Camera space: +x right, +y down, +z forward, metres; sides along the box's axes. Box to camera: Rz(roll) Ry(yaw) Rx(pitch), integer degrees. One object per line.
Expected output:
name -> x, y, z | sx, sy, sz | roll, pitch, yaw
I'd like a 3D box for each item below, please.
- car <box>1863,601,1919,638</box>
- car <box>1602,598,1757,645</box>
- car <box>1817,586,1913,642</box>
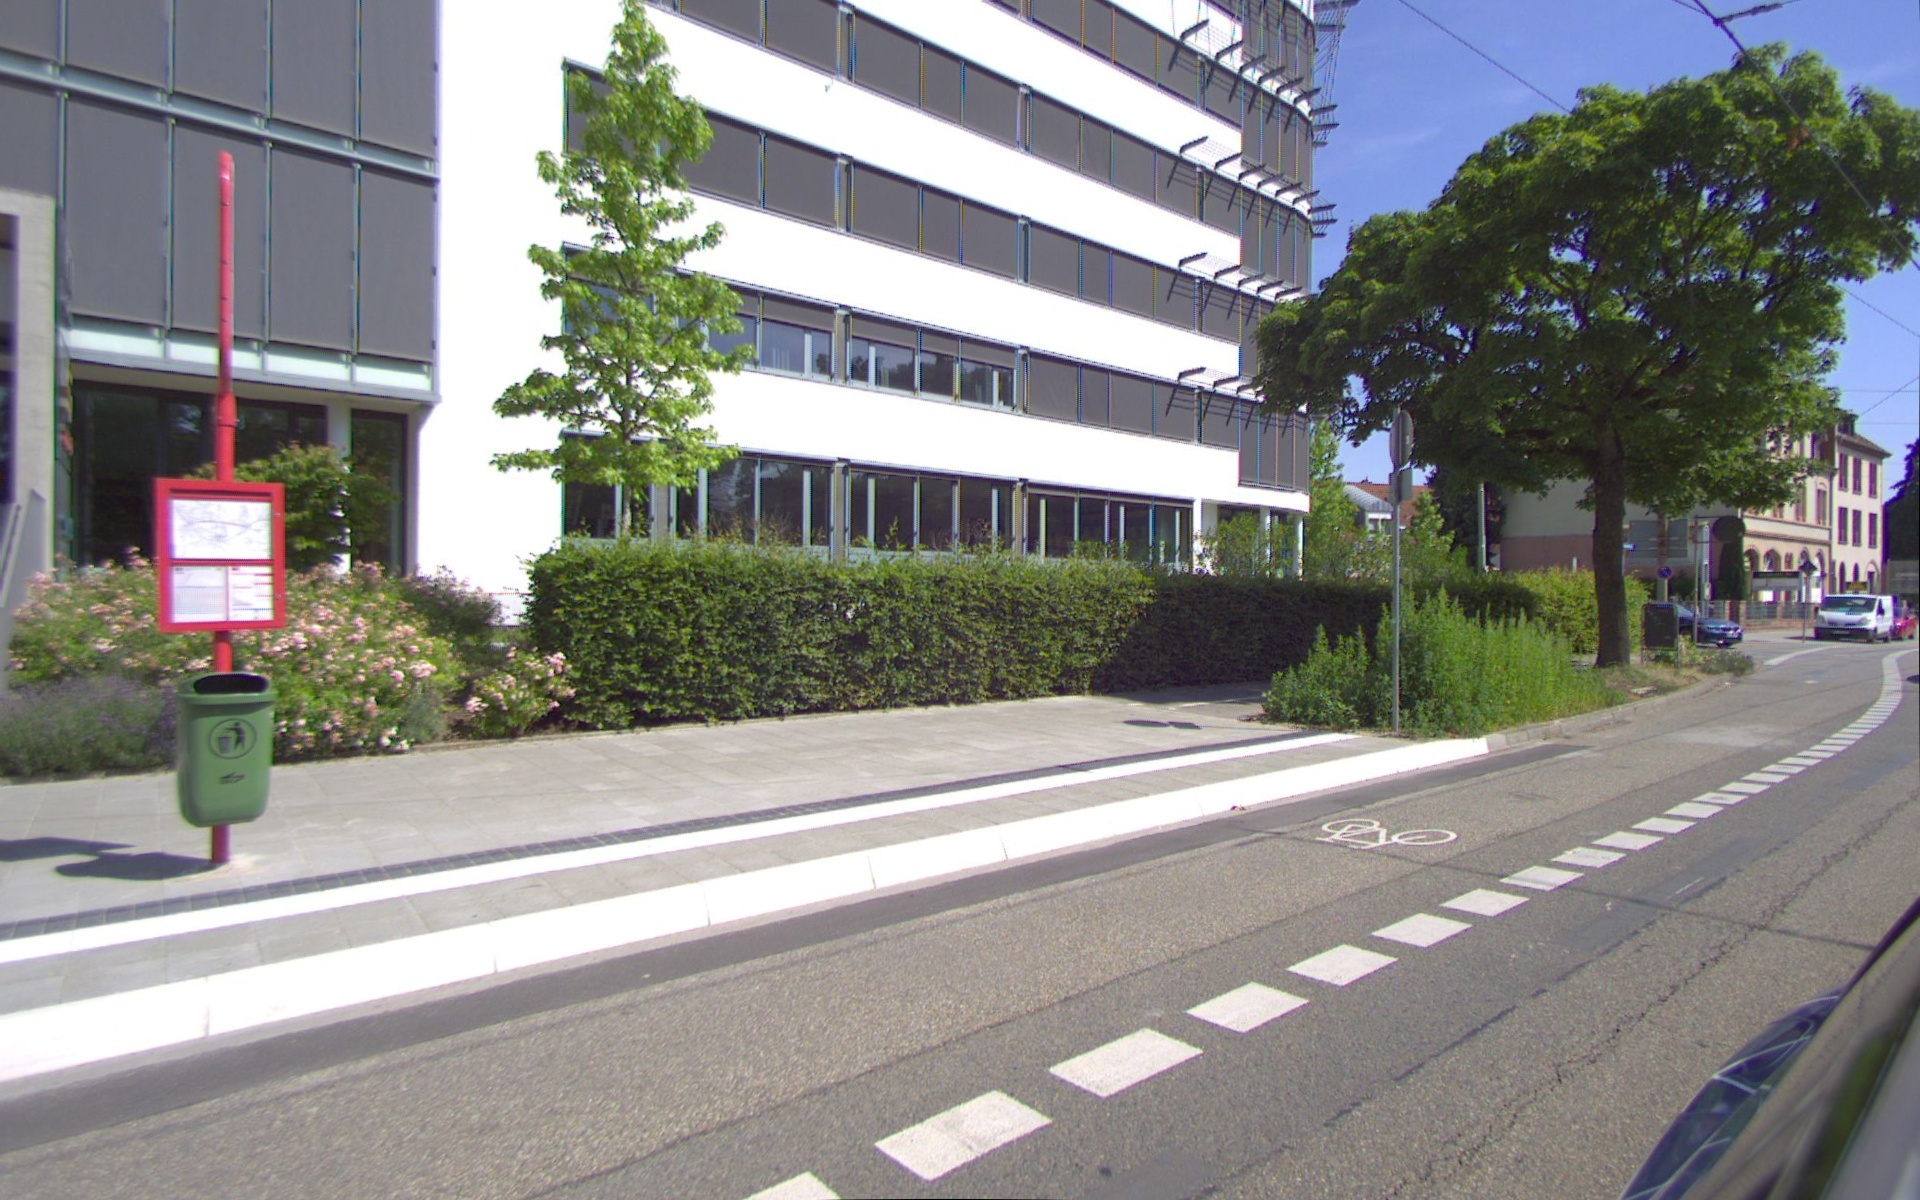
car -> 41.550, 0.831, 44.737 | 4.234, 1.461, 1.726 | 0, 2, -39
car -> 22.969, 0.655, 32.428 | 1.641, 1.406, 3.754 | 0, 0, -38
car -> 36.486, 0.510, 40.757 | 5.096, 2.080, 1.982 | -1, 2, -38
